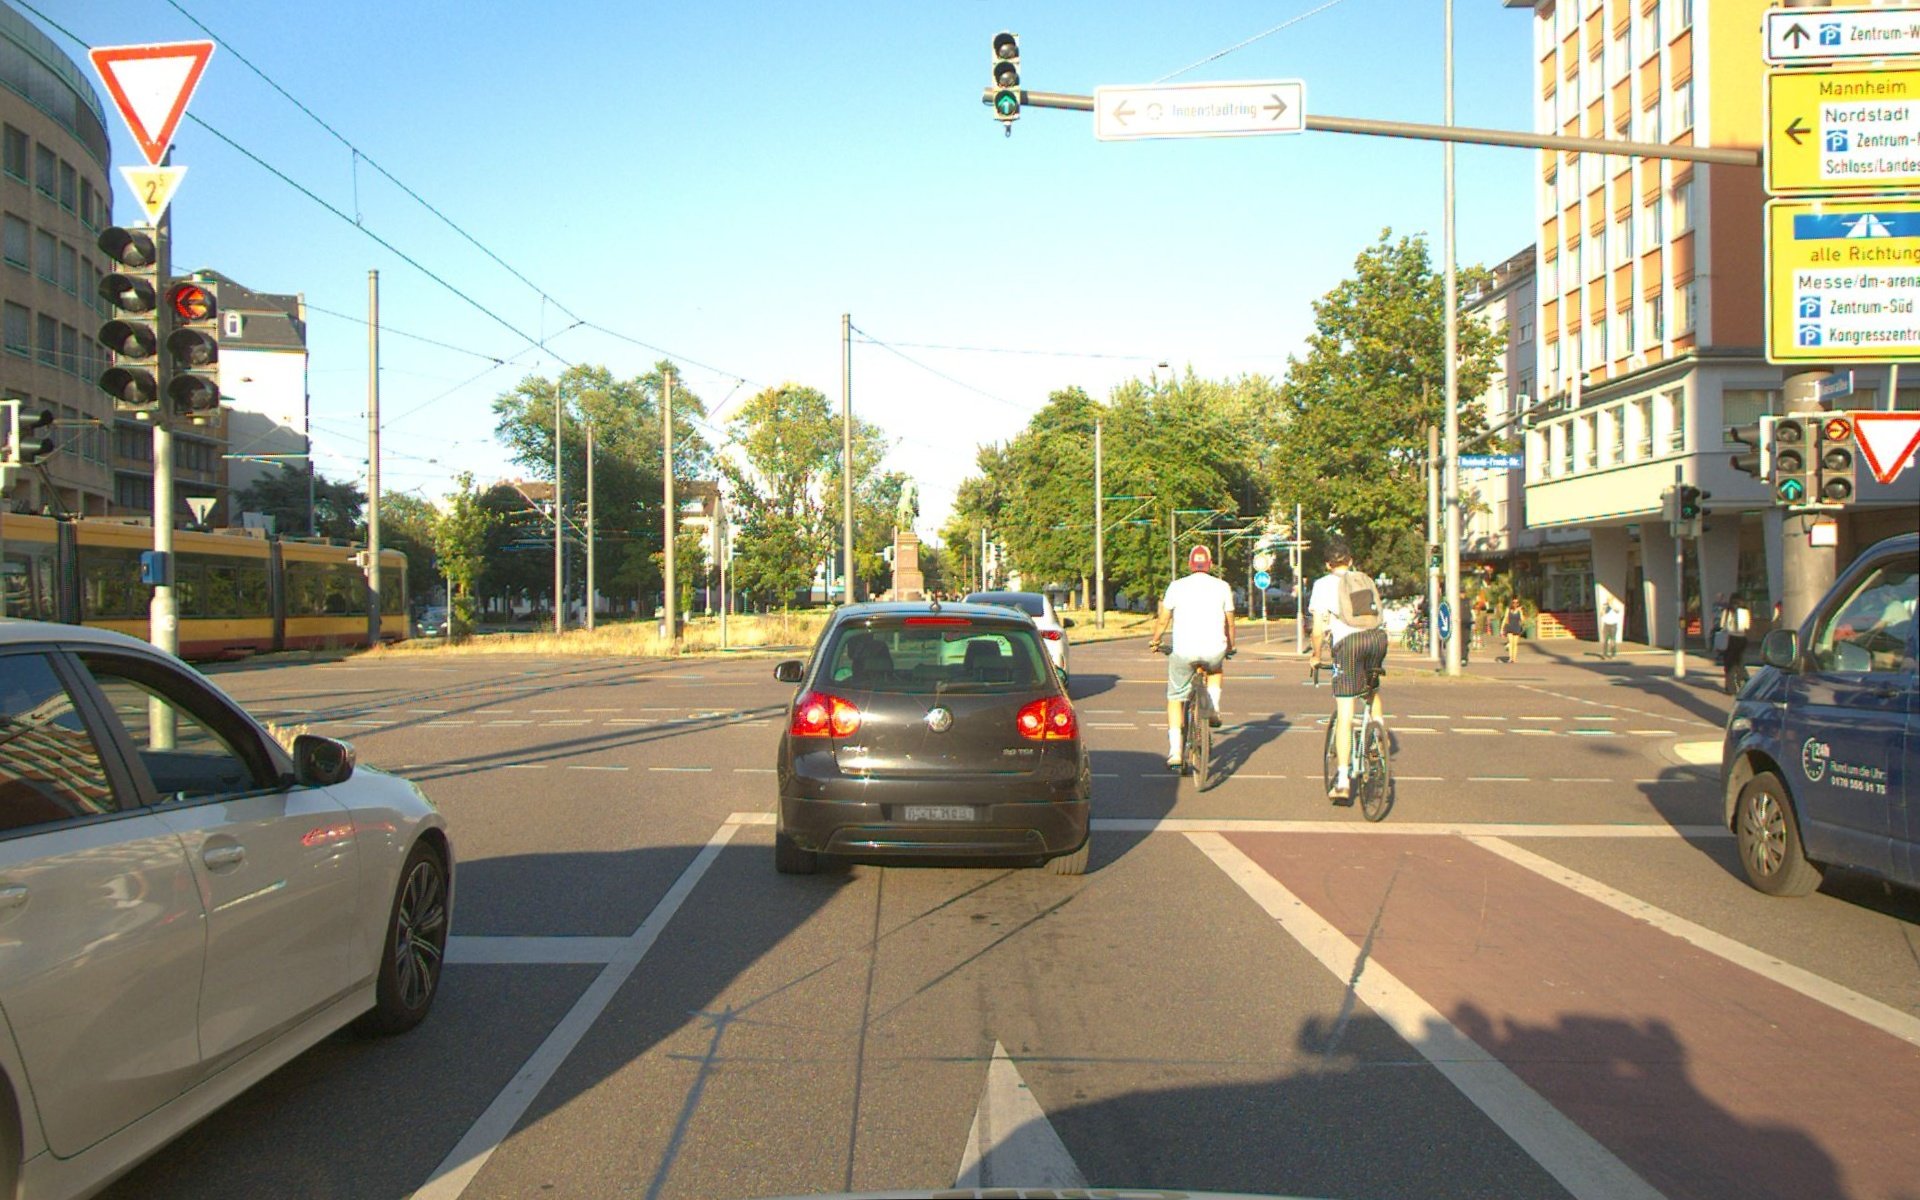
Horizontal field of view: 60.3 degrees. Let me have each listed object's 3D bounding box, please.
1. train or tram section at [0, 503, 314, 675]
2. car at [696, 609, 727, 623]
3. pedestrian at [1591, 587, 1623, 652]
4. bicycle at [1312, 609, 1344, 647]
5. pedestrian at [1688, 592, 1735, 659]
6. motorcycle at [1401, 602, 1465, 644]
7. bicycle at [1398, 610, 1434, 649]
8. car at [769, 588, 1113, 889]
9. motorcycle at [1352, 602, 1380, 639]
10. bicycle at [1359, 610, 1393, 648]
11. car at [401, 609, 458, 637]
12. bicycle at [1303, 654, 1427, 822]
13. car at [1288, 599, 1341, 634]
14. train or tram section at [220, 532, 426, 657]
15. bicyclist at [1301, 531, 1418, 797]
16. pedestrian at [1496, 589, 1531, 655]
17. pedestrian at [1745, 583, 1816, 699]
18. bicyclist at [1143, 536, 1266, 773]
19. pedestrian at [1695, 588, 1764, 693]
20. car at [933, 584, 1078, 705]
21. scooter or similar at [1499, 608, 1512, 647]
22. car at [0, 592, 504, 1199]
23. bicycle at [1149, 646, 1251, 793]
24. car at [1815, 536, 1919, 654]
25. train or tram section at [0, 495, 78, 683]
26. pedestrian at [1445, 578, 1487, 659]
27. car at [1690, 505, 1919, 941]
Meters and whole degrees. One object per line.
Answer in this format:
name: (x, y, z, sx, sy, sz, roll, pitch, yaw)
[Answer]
train or tram section: (-19.927, -0.238, 41.241, 2.717, 3.598, 13.248, 0, 0, -1)
car: (-28.134, 1.848, 187.369, 3.272, 1.534, 1.657, 0, 0, -4)
pedestrian: (17.465, 0.528, 44.645, 0.557, 1.731, 0.812, 0, 0, 1)
bicycle: (11.798, 0.884, 53.063, 0.631, 1.146, 1.874, 0, 1, 1)
pedestrian: (19.772, 0.665, 43.526, 0.767, 1.731, 1.027, 0, 0, 1)
motorcycle: (16.103, 0.781, 56.376, 2.000, 1.431, 0.761, 0, 0, 7)
bicycle: (14.636, 0.930, 53.123, 0.631, 1.178, 2.124, 0, 1, 1)
car: (-0.218, 0.687, 10.291, 1.713, 1.486, 4.100, 0, 0, -4)
motorcycle: (14.270, 0.718, 58.174, 0.652, 1.264, 2.202, 0, 0, 6)
bicycle: (13.348, 0.912, 53.122, 0.631, 1.146, 1.874, 0, 1, 1)
car: (-25.941, 1.098, 80.973, 1.612, 1.304, 3.739, 0, 0, 0)
bicycle: (2.874, 0.941, 11.870, 0.563, 1.046, 1.858, 0, 0, 4)
car: (16.497, 0.748, 76.860, 1.693, 1.498, 3.898, -3, -1, 22)
train or tram section: (-20.139, -0.165, 53.154, 2.717, 3.598, 10.568, 0, 0, -1)
bicyclist: (2.874, 0.441, 11.962, 0.660, 1.839, 0.994, 0, 0, 4)
pedestrian: (13.788, 0.544, 41.223, 0.667, 1.617, 0.747, 0, 0, 4)
pedestrian: (12.143, 0.599, 24.494, 0.667, 1.691, 0.747, 0, 0, 1)
bicyclist: (1.964, 0.424, 13.424, 0.810, 1.839, 1.057, 0, 0, -2)
pedestrian: (11.392, 0.588, 24.491, 0.667, 1.526, 0.747, 0, 0, 1)
car: (0.709, 0.557, 23.505, 1.826, 1.466, 4.199, -2, 1, 3)
scooter or similar: (18.086, 0.903, 54.807, 0.406, 1.276, 1.183, 0, 0, 19)
car: (-2.666, 0.716, 4.086, 1.800, 1.425, 4.583, 2, 0, -1)
bicycle: (1.925, 0.930, 13.473, 0.468, 1.046, 1.980, 0, 0, -2)
car: (21.811, -0.118, 36.264, 5.143, 2.526, 1.925, 0, 0, -1)
train or tram section: (-19.664, -0.202, 27.894, 2.717, 3.598, 13.248, 0, 0, -1)
pedestrian: (11.018, 0.402, 36.041, 0.648, 1.734, 1.072, 0, 0, 4)
car: (5.278, 0.547, 7.322, 1.897, 1.967, 4.831, 0, 0, -1)
